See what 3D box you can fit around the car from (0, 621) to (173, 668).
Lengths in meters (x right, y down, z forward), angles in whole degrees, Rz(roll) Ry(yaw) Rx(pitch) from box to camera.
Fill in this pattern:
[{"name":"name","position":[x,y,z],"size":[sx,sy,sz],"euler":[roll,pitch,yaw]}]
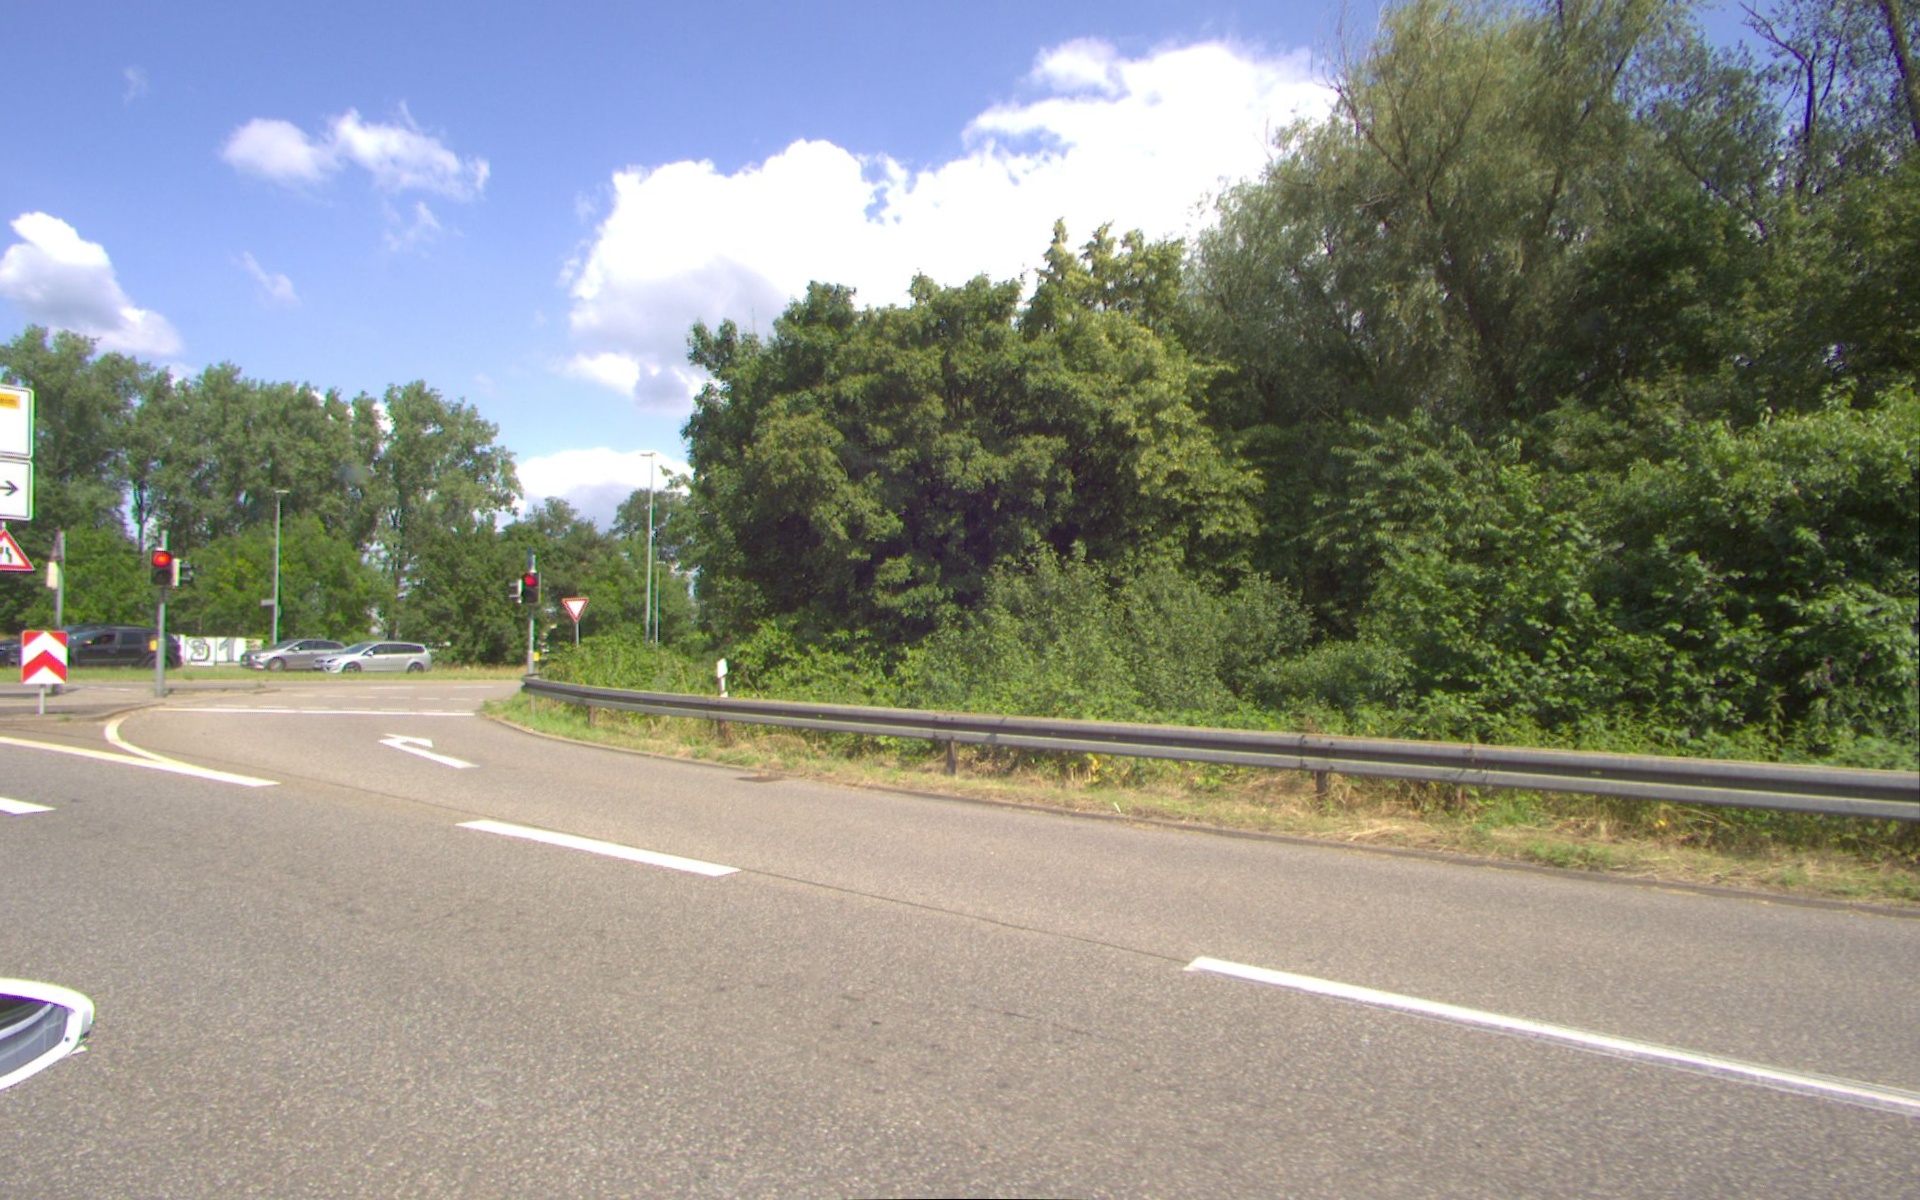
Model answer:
[{"name":"car","position":[-31.179,1.574,35.523],"size":[1.711,1.564,4.843],"euler":[0,-3,31]}]

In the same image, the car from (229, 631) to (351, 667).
[{"name":"car","position":[-30.129,2.210,45.146],"size":[1.970,1.515,4.104],"euler":[0,-3,29]}]

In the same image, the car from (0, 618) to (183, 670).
[{"name":"car","position":[-28.388,1.445,32.814],"size":[1.711,1.564,4.264],"euler":[0,-3,31]}]

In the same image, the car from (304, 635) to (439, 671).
[{"name":"car","position":[-23.840,2.148,40.755],"size":[1.710,1.337,4.471],"euler":[0,-3,28]}]
